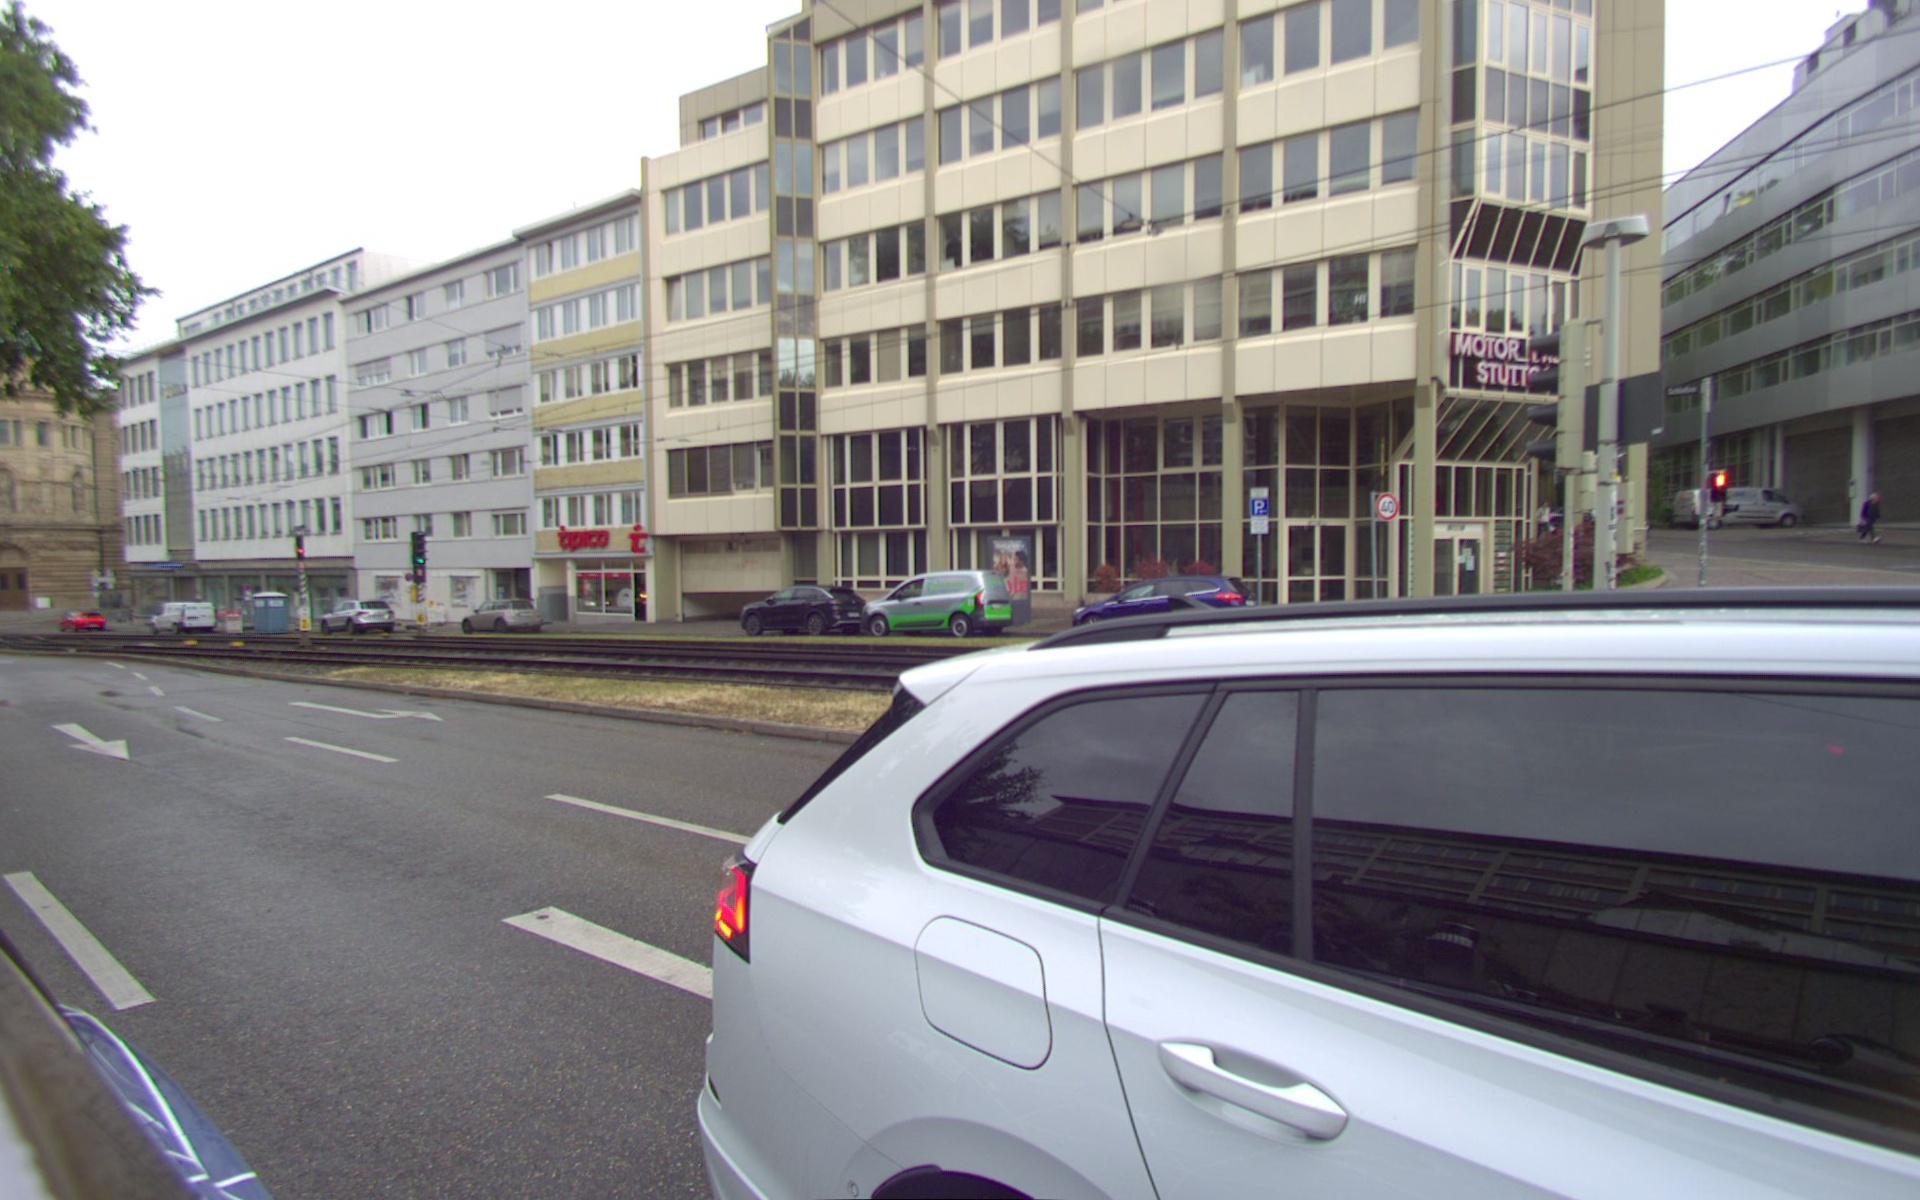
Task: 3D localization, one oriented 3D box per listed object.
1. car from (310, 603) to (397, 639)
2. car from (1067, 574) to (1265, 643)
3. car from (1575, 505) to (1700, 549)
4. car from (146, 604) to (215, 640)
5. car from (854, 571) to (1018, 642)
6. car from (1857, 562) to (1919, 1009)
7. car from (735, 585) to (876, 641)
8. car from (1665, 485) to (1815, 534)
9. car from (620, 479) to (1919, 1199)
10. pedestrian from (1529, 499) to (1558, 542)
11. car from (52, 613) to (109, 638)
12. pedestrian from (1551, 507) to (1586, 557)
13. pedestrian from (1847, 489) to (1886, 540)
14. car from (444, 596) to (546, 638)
[{"bbox_3d":[-28.320,0.954,47.211,4.066,1.524,1.869,-1,3,34],"label":"car"},{"bbox_3d":[4.808,0.195,23.852,4.207,1.488,1.780,-1,0,35],"label":"car"},{"bbox_3d":[27.561,-3.015,41.400,1.974,1.591,4.884,-2,5,3],"label":"car"},{"bbox_3d":[-46.559,1.295,60.454,4.465,1.949,1.869,-1,3,34],"label":"car"},{"bbox_3d":[-0.684,0.173,27.866,4.204,1.759,1.782,-1,2,33],"label":"car"},{"bbox_3d":[5.292,0.576,2.560,4.473,1.453,1.777,-1,0,41],"label":"car"},{"bbox_3d":[-4.725,0.382,30.756,4.066,1.524,1.782,-1,3,34],"label":"car"},{"bbox_3d":[37.617,-4.346,48.940,5.357,2.029,1.993,-1,0,12],"label":"car"},{"bbox_3d":[1.602,0.625,1.163,4.473,1.453,1.777,-1,0,41],"label":"car"},{"bbox_3d":[22.992,-3.112,39.866,0.711,1.651,0.759,-2,3,6],"label":"pedestrian"},{"bbox_3d":[-62.217,1.786,71.559,4.465,1.636,1.869,-1,3,34],"label":"car"},{"bbox_3d":[22.254,-2.481,37.015,0.821,1.800,0.759,-2,3,6],"label":"pedestrian"},{"bbox_3d":[33.974,-3.196,37.933,0.711,1.874,0.847,-2,3,6],"label":"pedestrian"},{"bbox_3d":[-18.723,0.670,40.709,4.066,1.524,1.782,-1,3,34],"label":"car"}]
